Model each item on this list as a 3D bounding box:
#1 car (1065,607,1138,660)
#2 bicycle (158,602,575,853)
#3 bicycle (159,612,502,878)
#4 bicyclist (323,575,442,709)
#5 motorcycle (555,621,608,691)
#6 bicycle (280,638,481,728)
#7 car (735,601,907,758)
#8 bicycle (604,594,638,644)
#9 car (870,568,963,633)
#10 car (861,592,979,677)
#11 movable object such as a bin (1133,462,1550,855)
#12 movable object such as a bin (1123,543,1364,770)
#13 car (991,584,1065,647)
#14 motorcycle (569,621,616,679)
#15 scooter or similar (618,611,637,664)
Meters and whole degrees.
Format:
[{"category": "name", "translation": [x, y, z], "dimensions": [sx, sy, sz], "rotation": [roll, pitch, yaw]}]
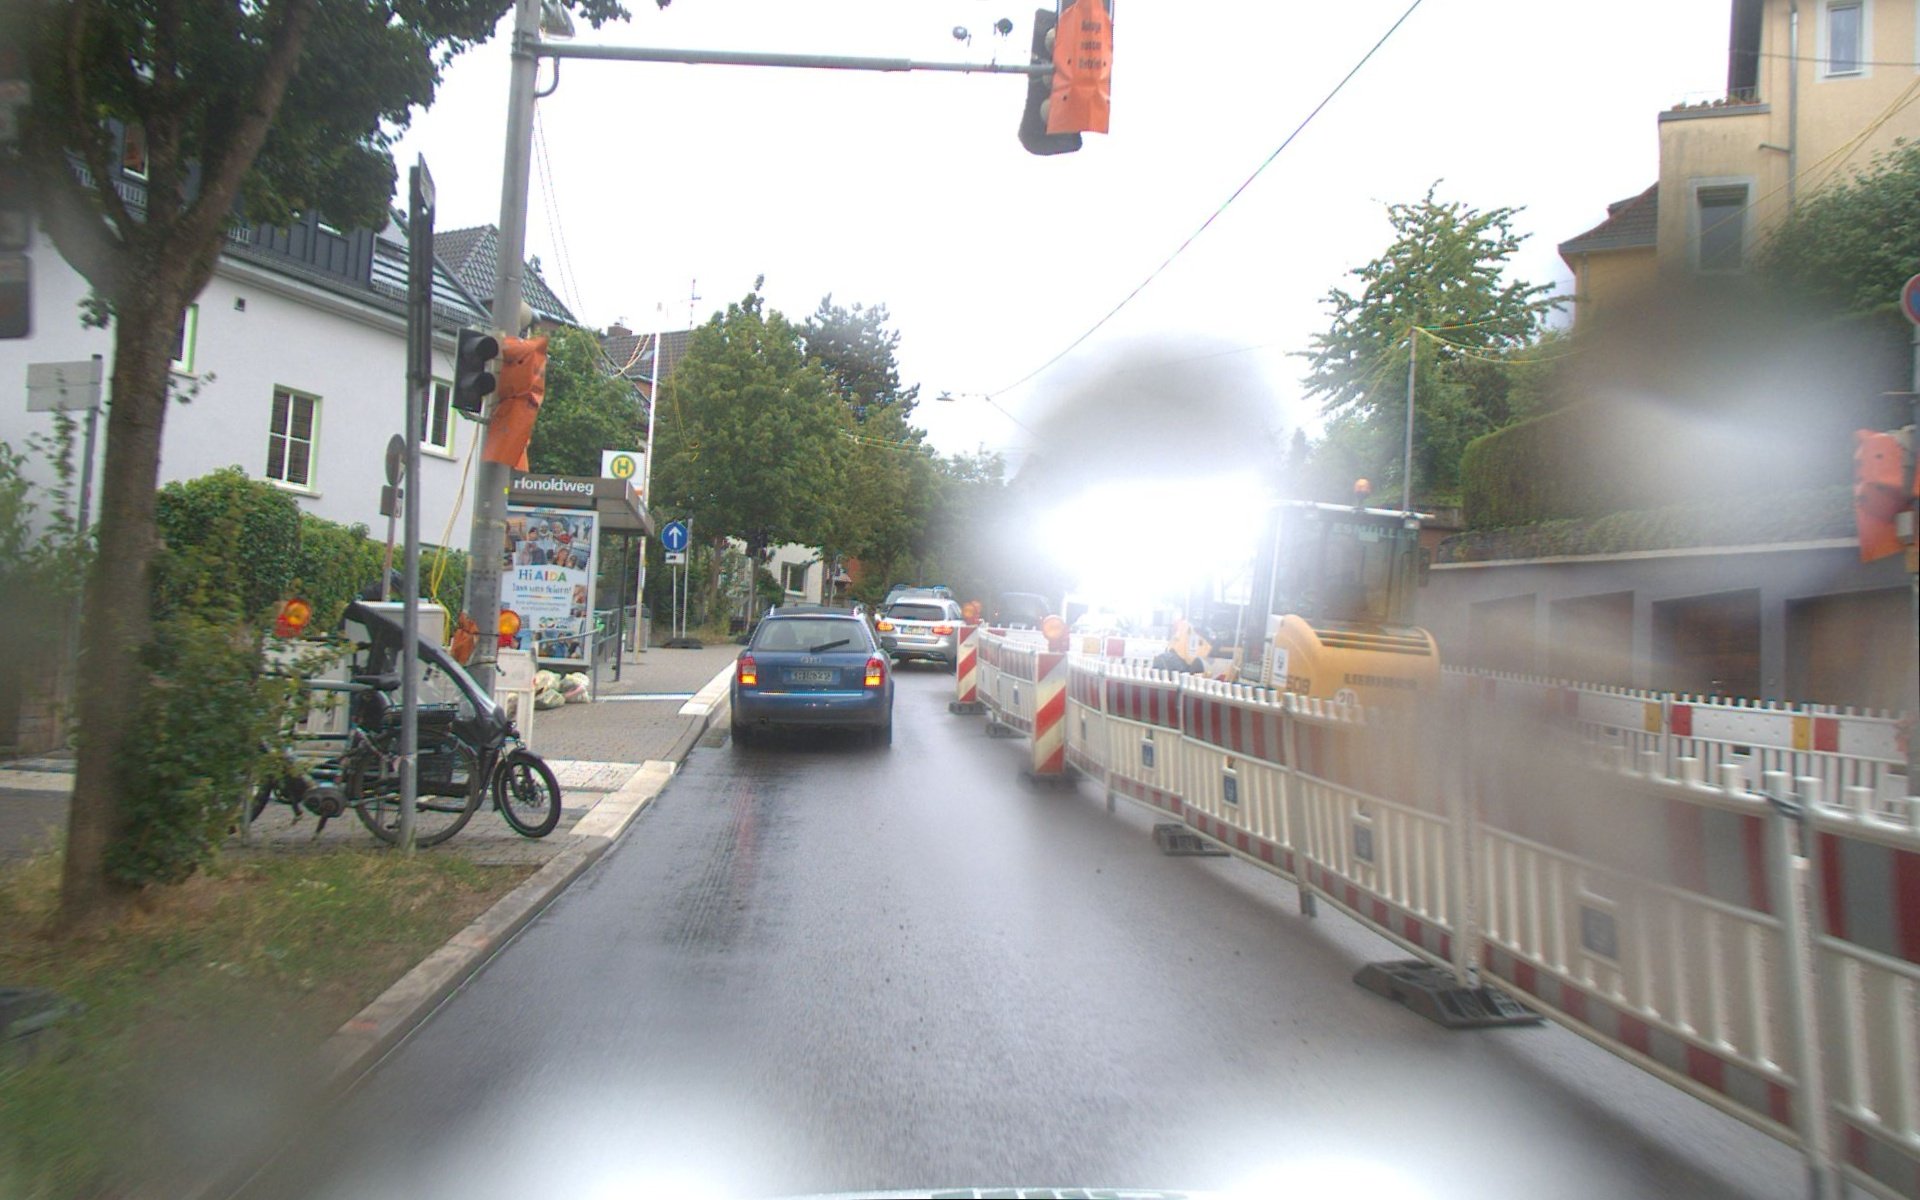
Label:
[{"category": "car", "translation": [5.312, 1.242, 61.693], "dimensions": [1.697, 1.799, 4.236], "rotation": [3, 0, 18]}, {"category": "bicycle", "translation": [-3.434, 0.737, 9.801], "dimensions": [2.189, 1.385, 0.807], "rotation": [1, -1, -12]}, {"category": "bicycle", "translation": [-3.466, 0.805, 9.206], "dimensions": [1.660, 1.369, 0.418], "rotation": [3, 0, -11]}, {"category": "bicyclist", "translation": [-6.521, 0.470, 18.720], "dimensions": [0.887, 1.464, 1.097], "rotation": [1, -1, 3]}, {"category": "motorcycle", "translation": [-6.223, 0.902, 27.261], "dimensions": [0.654, 1.054, 2.148], "rotation": [1, 0, -9]}, {"category": "bicycle", "translation": [-6.524, 0.919, 18.709], "dimensions": [1.832, 0.948, 1.097], "rotation": [1, -1, 2]}, {"category": "car", "translation": [-1.546, 0.795, 18.430], "dimensions": [1.699, 1.492, 3.996], "rotation": [0, 1, -5]}, {"category": "bicycle", "translation": [-9.305, 0.517, 45.459], "dimensions": [0.481, 1.294, 2.272], "rotation": [4, 0, -2]}, {"category": "car", "translation": [-1.307, 0.061, 52.578], "dimensions": [1.856, 1.923, 5.157], "rotation": [1, -1, 11]}, {"category": "car", "translation": [-0.789, 0.692, 35.516], "dimensions": [1.933, 1.663, 4.238], "rotation": [0, 1, 7]}, {"category": "movable object such as a bin", "translation": [3.203, 0.561, 15.350], "dimensions": [2.046, 2.888, 5.669], "rotation": [3, -3, -5]}, {"category": "movable object such as a bin", "translation": [4.003, 0.729, 24.507], "dimensions": [2.046, 2.887, 5.671], "rotation": [3, 0, -5]}, {"category": "car", "translation": [2.122, 0.432, 50.582], "dimensions": [1.696, 1.799, 4.239], "rotation": [1, 1, 10]}, {"category": "motorcycle", "translation": [-6.579, 0.884, 29.670], "dimensions": [0.654, 0.950, 2.006], "rotation": [1, 0, -9]}, {"category": "scooter or similar", "translation": [-7.015, 0.788, 34.920], "dimensions": [0.317, 1.099, 1.093], "rotation": [1, 0, -8]}]
